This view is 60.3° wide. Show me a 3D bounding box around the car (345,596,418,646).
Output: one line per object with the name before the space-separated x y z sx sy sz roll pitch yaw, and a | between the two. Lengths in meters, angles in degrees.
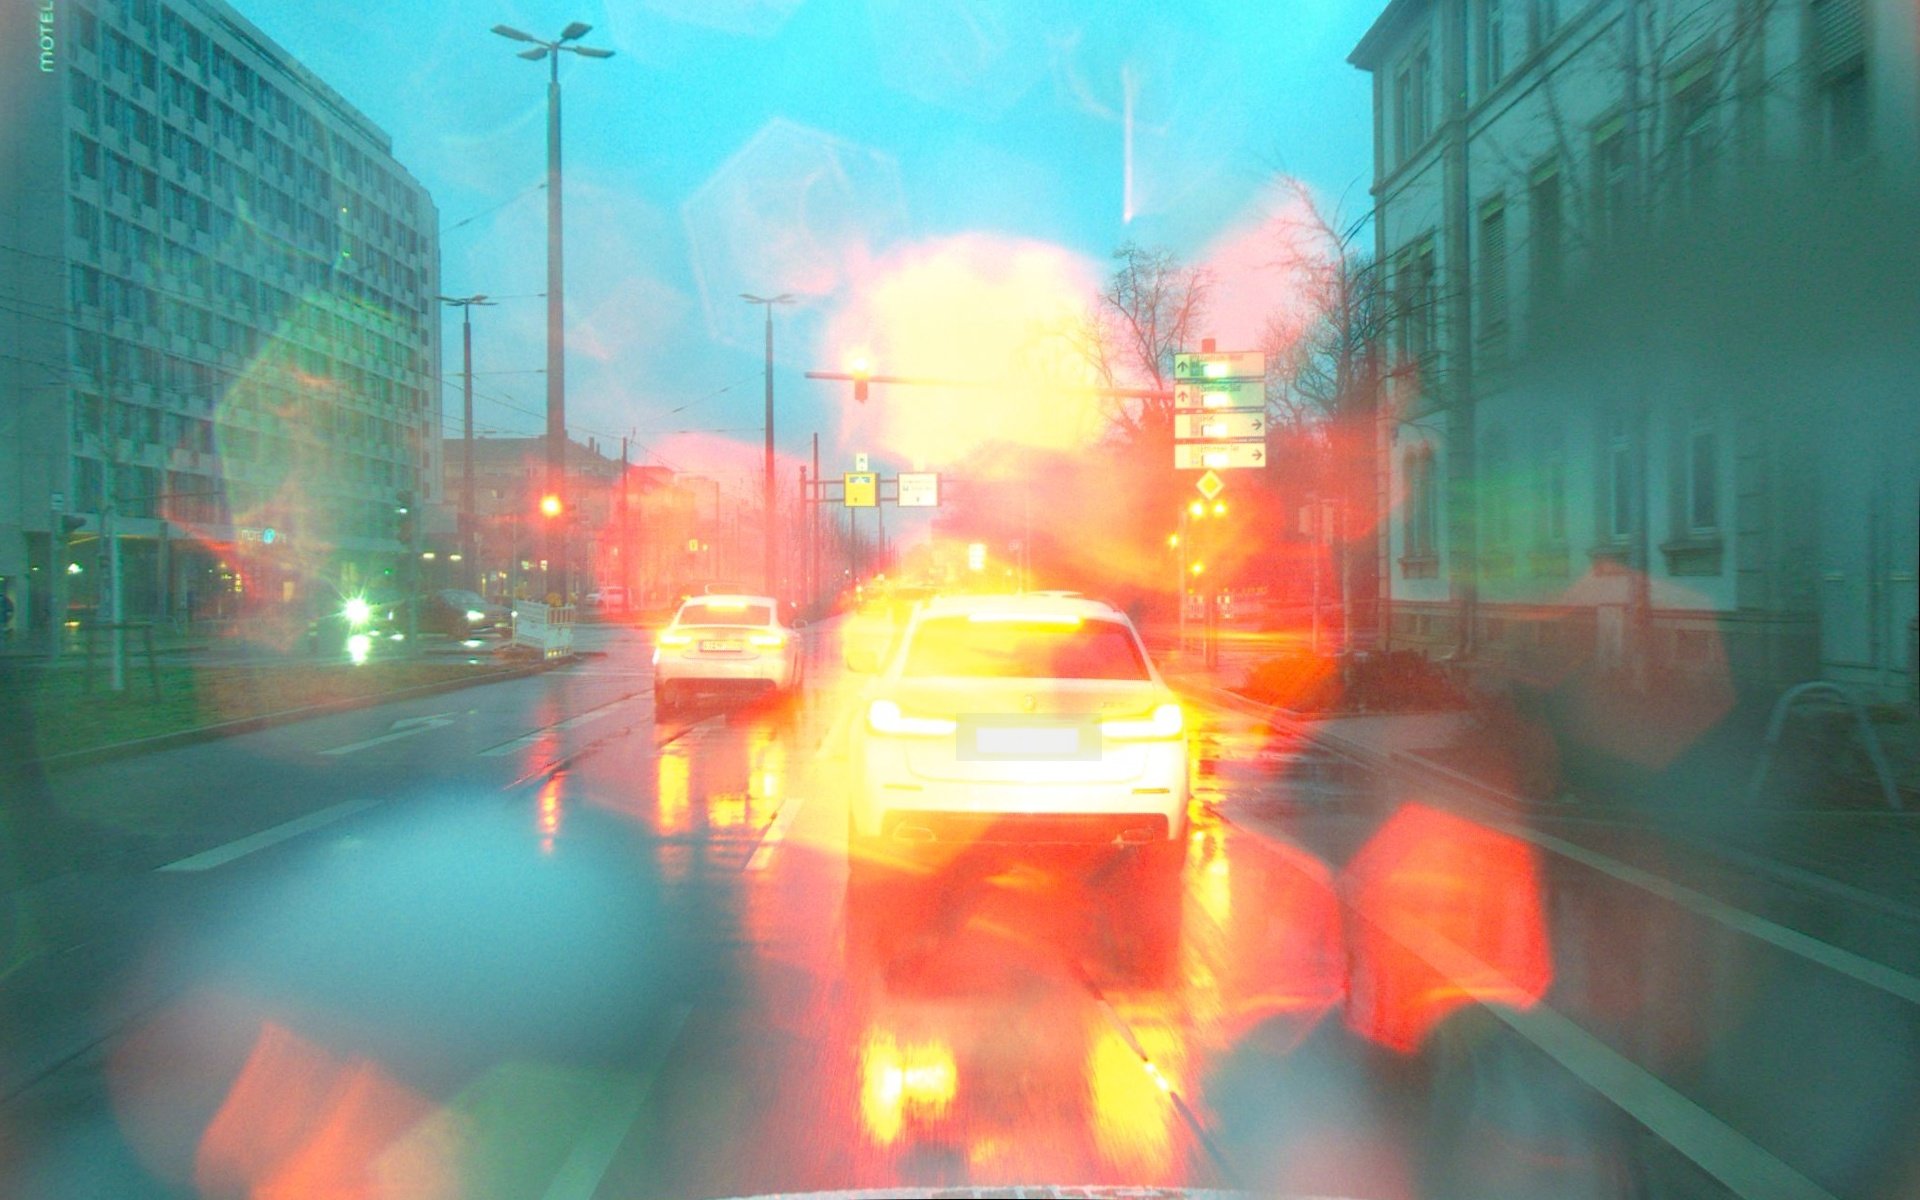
car | -20.049 0.684 57.440 1.824 1.668 4.021 0 0 -11

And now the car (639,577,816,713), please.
car | -3.027 0.536 22.319 1.862 1.670 3.999 0 0 -1

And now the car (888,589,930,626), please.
car | -2.360 0.312 77.074 1.862 1.670 3.999 0 0 -1

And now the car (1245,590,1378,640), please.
car | 11.351 0.457 53.440 3.908 1.588 1.850 0 0 25

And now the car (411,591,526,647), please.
car | -14.850 0.571 49.908 3.480 1.518 1.734 -2 1 43

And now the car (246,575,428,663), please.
car | -14.650 0.423 39.108 3.927 2.009 1.989 0 0 -20

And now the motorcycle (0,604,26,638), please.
motorcycle | -38.640 0.823 65.530 2.653 1.337 1.044 0 0 -7

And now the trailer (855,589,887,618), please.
trailer | -5.107 0.182 95.218 1.797 1.672 3.997 0 0 -3

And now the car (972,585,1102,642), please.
car | 2.522 0.412 54.482 3.915 1.829 1.846 0 0 32

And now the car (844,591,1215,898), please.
car | 0.282 0.689 10.536 1.814 1.491 4.945 0 0 -1
